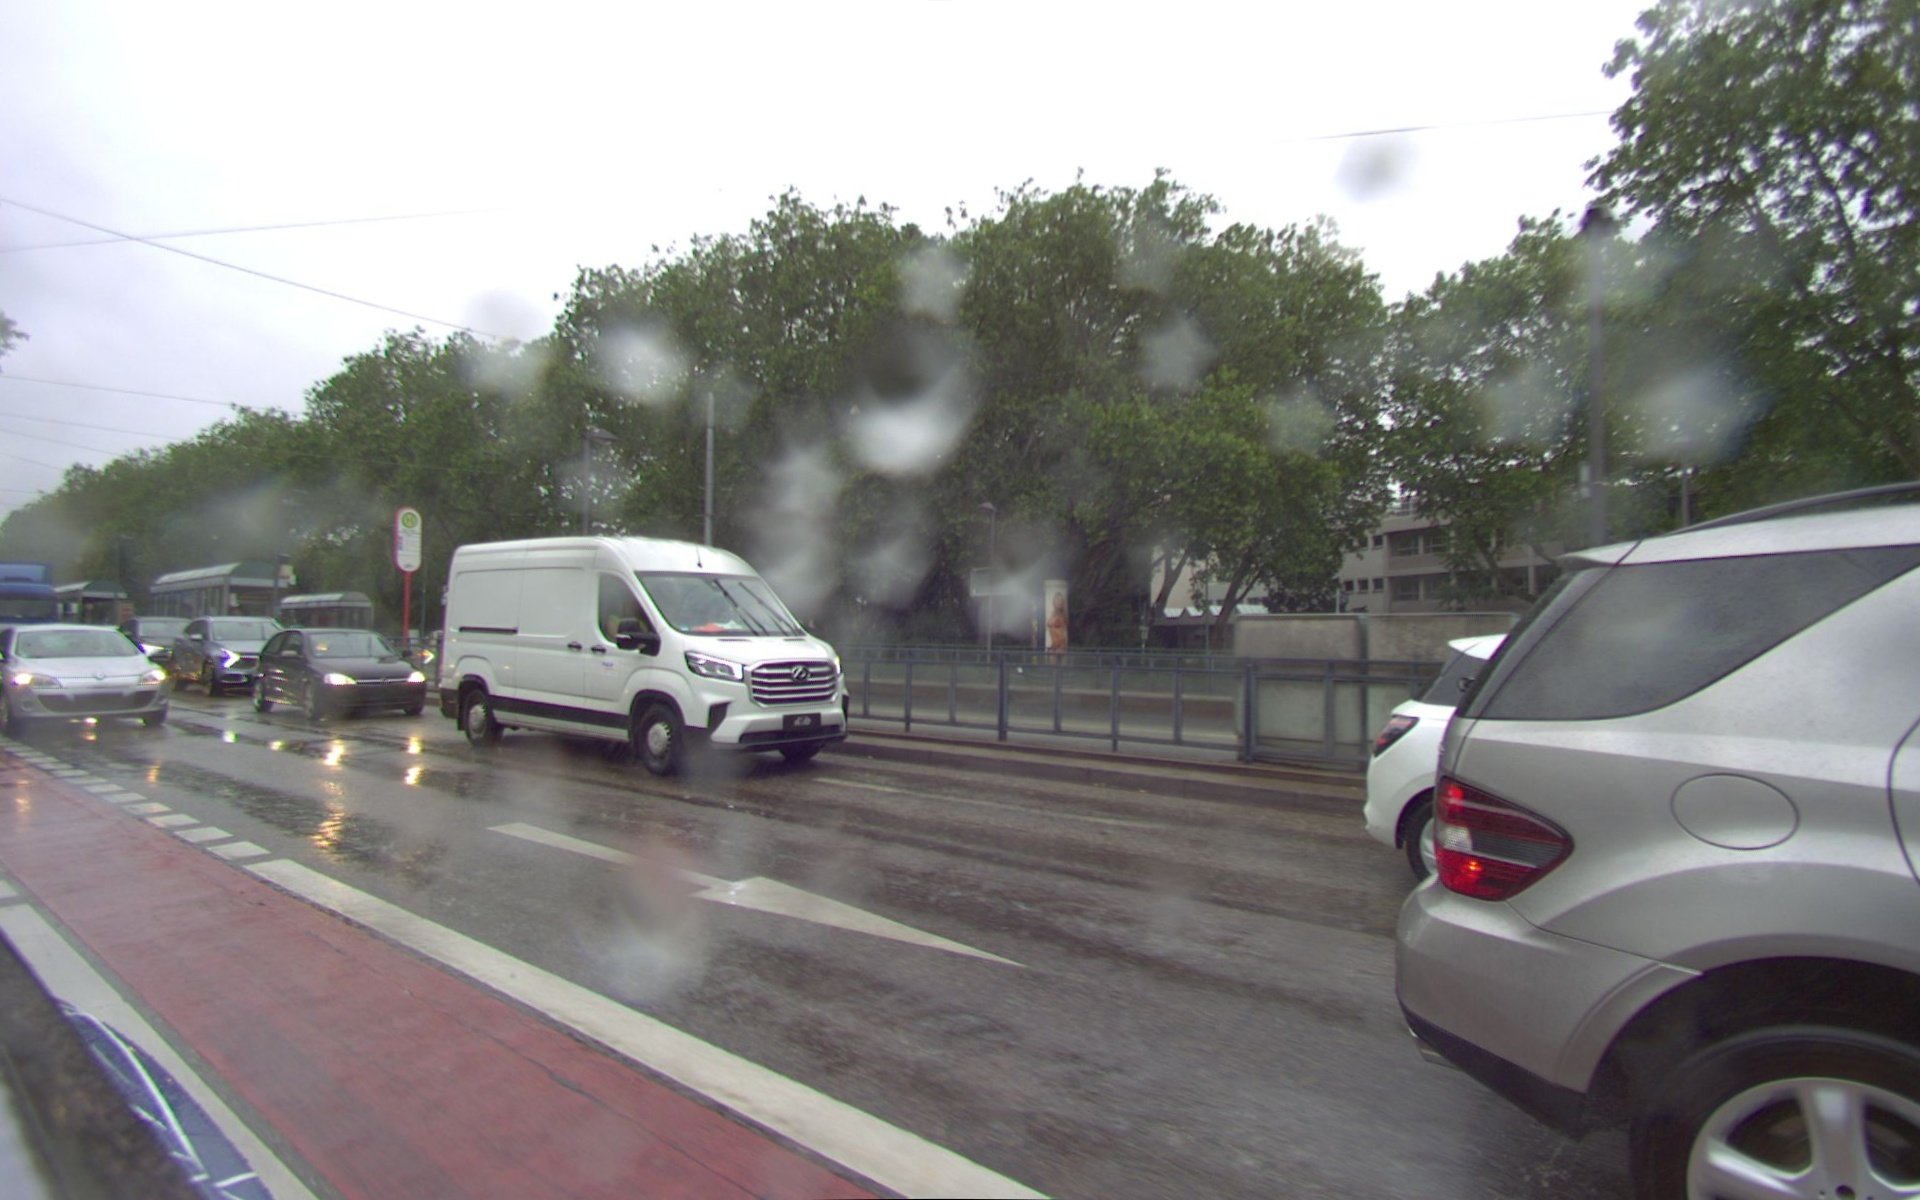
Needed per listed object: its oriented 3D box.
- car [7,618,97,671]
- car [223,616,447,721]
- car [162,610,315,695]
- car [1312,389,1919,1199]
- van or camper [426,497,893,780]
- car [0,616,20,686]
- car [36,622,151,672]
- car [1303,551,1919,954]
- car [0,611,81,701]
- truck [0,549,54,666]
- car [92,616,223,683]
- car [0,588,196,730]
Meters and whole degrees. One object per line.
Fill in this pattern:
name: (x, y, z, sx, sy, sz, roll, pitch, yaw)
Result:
car: (-30.849, 1.501, 34.350, 4.190, 1.659, 1.887, -3, -2, 43)
car: (-10.411, 1.073, 16.726, 4.551, 1.525, 1.764, -2, -2, 39)
car: (-15.657, 1.106, 21.877, 4.246, 1.647, 1.823, -3, -2, 42)
car: (3.247, 0.437, 1.644, 4.676, 1.659, 1.889, -2, -2, 40)
van or camper: (-3.690, 0.446, 11.646, 5.963, 2.490, 2.154, -2, -3, 39)
car: (-24.472, 1.258, 24.674, 4.189, 1.659, 1.888, -3, -2, 42)
car: (-26.164, 1.410, 30.525, 4.186, 1.419, 1.889, -2, -2, 39)
car: (4.055, 0.643, 5.026, 4.072, 1.599, 1.782, -3, -3, 42)
car: (-18.337, 1.056, 19.246, 4.665, 1.561, 1.888, -3, -2, 42)
truck: (-38.347, 0.409, 40.145, 8.346, 4.309, 2.387, -3, -2, 40)
car: (-21.646, 1.318, 27.250, 4.186, 1.659, 1.889, -2, -2, 39)
car: (-12.926, 0.813, 14.675, 4.261, 1.755, 1.951, -2, -2, 38)
